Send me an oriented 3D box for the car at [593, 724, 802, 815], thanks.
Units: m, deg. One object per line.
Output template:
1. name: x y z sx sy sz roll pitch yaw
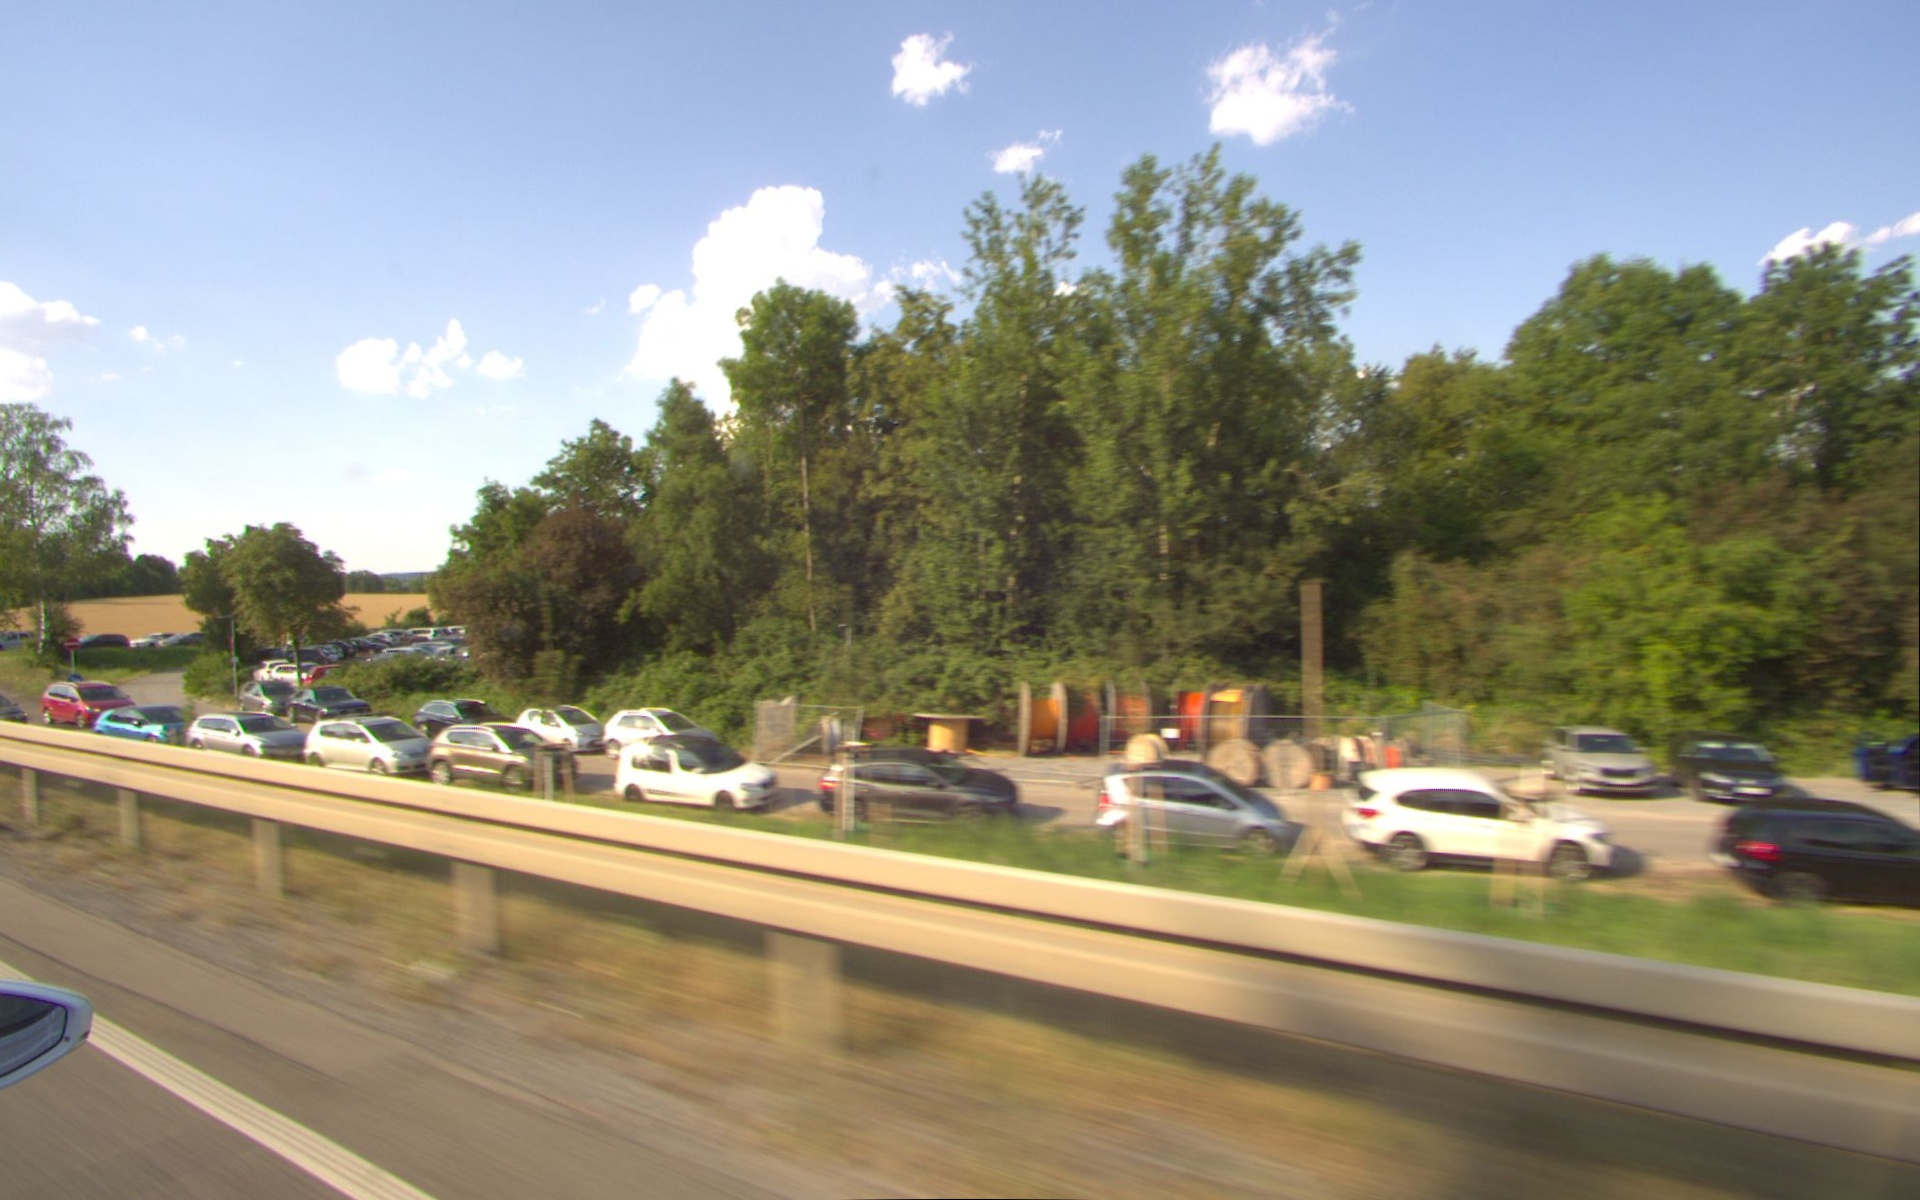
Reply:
1. car: -6.473 4.119 24.744 4.697 1.581 1.893 0 4 18

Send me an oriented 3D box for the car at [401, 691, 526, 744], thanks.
1. car: -17.996 4.199 36.228 4.714 1.418 1.697 -1 3 31

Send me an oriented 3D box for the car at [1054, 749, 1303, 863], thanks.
1. car: 4.371 4.070 20.230 4.694 1.581 1.894 0 3 15

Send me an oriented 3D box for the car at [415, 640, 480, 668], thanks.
1. car: -34.582 3.593 67.644 1.623 1.693 4.146 0 0 13

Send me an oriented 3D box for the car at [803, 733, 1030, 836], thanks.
1. car: -0.944 4.054 22.409 4.697 1.581 1.893 0 4 18

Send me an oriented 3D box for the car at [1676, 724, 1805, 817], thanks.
1. car: 18.708 4.008 24.186 1.805 1.509 4.228 2 0 30

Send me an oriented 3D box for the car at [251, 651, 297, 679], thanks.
1. car: -42.715 4.017 62.302 1.678 1.506 4.249 0 0 -44

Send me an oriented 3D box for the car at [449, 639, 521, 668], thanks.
1. car: -31.431 3.513 66.331 1.788 1.776 4.135 0 0 26

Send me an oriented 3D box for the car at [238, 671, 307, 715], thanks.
1. car: -30.859 4.141 44.899 4.054 1.418 1.690 2 4 44

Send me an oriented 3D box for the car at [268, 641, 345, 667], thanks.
1. car: -47.722 3.895 73.209 4.528 1.713 1.795 0 0 -28

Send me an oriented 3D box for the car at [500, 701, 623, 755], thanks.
1. car: -13.509 4.292 33.903 3.883 1.418 1.699 -1 2 28

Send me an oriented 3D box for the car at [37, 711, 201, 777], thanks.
1. car: -27.642 4.693 32.919 4.697 1.581 1.893 0 4 18

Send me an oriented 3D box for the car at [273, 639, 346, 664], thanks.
1. car: -50.311 3.969 77.533 4.528 1.713 1.795 0 0 -28

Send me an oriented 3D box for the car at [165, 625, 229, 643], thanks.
1. car: -65.141 2.921 85.609 1.776 1.459 4.593 1 -2 3

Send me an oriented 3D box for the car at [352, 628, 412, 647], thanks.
1. car: -54.460 3.484 94.375 4.509 1.713 1.803 0 0 -8

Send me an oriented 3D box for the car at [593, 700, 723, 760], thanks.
1. car: -9.705 4.130 32.157 3.881 1.530 1.700 -1 0 26

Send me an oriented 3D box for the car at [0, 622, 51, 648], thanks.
1. car: -69.419 2.557 73.134 1.777 1.771 4.214 0 0 12

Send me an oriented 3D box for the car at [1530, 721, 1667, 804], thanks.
1. car: 16.309 4.101 25.823 1.800 1.509 4.243 0 -1 15

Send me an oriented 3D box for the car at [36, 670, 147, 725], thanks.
1. car: -36.008 3.972 41.485 5.009 1.711 1.888 1 4 30

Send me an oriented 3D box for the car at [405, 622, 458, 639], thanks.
1. car: -55.074 3.131 104.435 4.509 1.713 1.803 0 0 -8

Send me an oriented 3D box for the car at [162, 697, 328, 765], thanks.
1. car: -22.578 4.081 31.624 4.698 1.581 1.892 1 4 20

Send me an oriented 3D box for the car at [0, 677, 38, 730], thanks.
1. car: -37.610 3.990 38.599 4.714 1.581 1.886 1 4 33

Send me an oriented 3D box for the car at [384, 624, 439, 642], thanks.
1. car: -55.169 3.301 100.734 4.509 1.713 1.803 0 0 -8

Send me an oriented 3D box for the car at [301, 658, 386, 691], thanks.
1. car: -34.191 4.094 55.605 1.637 1.563 3.741 0 0 44

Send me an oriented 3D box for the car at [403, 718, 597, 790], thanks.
1. car: -12.374 4.084 26.957 4.699 1.577 1.897 0 -5 20

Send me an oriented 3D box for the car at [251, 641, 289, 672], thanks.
1. car: -46.715 3.776 67.840 1.778 1.866 4.571 0 0 -31

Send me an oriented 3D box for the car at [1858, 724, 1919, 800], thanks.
1. car: 24.206 4.036 24.312 1.800 1.625 4.243 -1 -1 14

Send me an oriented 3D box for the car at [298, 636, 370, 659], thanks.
1. car: -50.072 3.775 80.175 4.509 1.713 1.803 0 0 -8

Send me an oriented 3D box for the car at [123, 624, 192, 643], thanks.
1. car: -68.566 2.849 85.644 1.961 1.526 4.645 0 -1 3

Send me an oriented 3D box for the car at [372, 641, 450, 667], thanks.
1. car: -38.136 3.737 69.607 4.508 1.713 1.803 0 0 7

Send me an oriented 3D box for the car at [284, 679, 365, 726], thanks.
1. car: -26.243 4.170 41.287 4.733 1.418 1.690 0 3 44

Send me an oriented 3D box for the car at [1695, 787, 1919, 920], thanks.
1. car: 15.064 4.108 16.200 4.694 1.503 1.894 0 3 15

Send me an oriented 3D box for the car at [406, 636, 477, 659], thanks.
1. car: -40.313 3.671 77.963 4.509 1.713 1.803 0 0 -8

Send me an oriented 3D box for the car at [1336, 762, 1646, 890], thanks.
1. car: 9.564 4.084 18.492 4.694 1.581 1.894 0 3 15

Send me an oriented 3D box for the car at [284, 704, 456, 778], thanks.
1. car: -17.363 4.080 29.478 4.701 1.581 1.892 1 2 23
